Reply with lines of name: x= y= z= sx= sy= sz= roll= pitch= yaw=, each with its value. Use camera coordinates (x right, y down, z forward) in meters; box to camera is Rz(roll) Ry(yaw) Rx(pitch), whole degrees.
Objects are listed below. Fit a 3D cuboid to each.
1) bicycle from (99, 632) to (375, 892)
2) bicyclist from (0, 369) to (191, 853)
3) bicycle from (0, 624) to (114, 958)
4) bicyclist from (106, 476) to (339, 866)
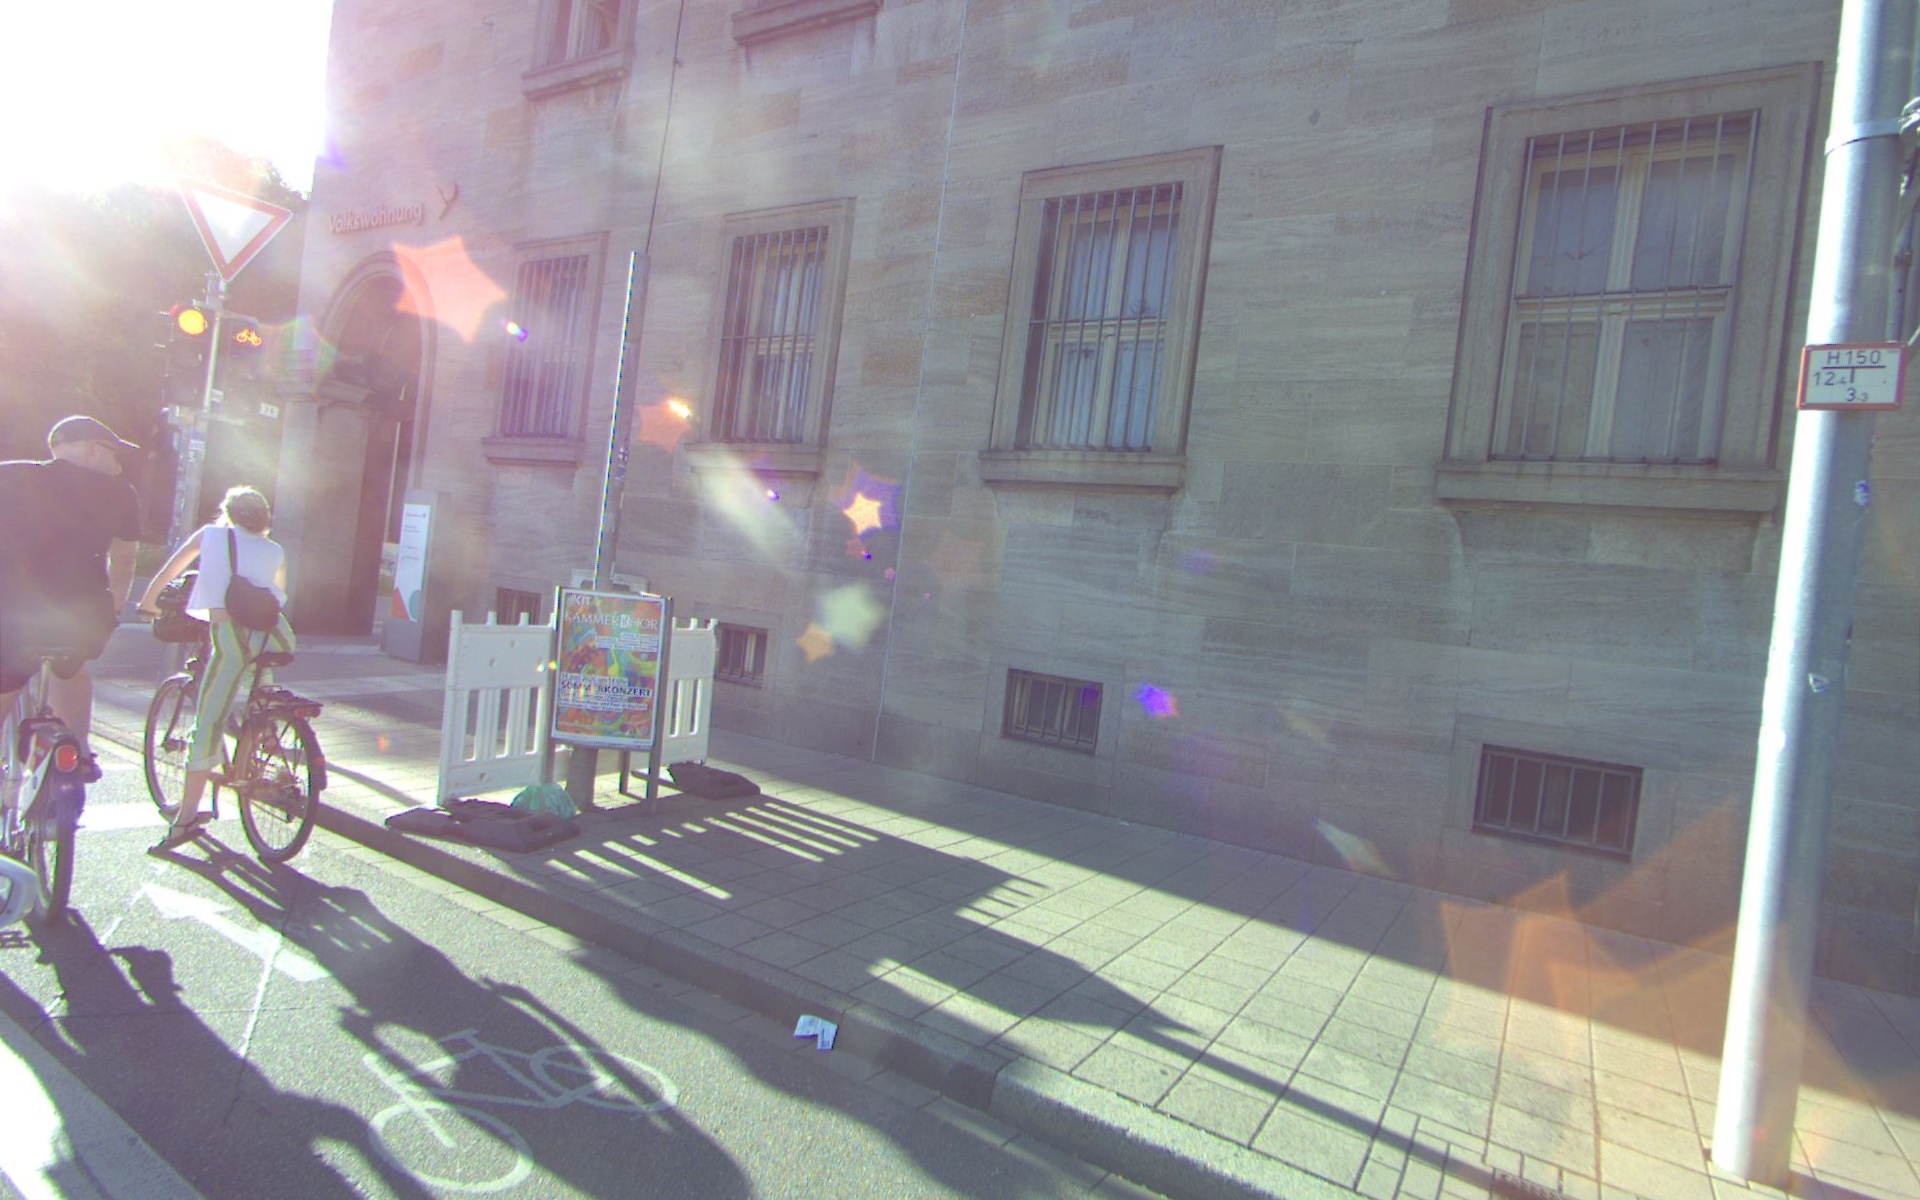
bicycle: x=-3.622 y=0.719 z=4.968 sx=1.920 sy=0.887 sz=0.427 roll=7 pitch=0 yaw=35
bicyclist: x=-3.520 y=0.039 z=3.844 sx=0.647 sy=1.698 sz=0.669 roll=7 pitch=1 yaw=41
bicycle: x=-3.812 y=0.642 z=3.942 sx=1.923 sy=0.916 sz=0.388 roll=7 pitch=0 yaw=41
bicyclist: x=-3.574 y=0.305 z=4.869 sx=0.845 sy=1.700 sz=0.522 roll=7 pitch=1 yaw=35
